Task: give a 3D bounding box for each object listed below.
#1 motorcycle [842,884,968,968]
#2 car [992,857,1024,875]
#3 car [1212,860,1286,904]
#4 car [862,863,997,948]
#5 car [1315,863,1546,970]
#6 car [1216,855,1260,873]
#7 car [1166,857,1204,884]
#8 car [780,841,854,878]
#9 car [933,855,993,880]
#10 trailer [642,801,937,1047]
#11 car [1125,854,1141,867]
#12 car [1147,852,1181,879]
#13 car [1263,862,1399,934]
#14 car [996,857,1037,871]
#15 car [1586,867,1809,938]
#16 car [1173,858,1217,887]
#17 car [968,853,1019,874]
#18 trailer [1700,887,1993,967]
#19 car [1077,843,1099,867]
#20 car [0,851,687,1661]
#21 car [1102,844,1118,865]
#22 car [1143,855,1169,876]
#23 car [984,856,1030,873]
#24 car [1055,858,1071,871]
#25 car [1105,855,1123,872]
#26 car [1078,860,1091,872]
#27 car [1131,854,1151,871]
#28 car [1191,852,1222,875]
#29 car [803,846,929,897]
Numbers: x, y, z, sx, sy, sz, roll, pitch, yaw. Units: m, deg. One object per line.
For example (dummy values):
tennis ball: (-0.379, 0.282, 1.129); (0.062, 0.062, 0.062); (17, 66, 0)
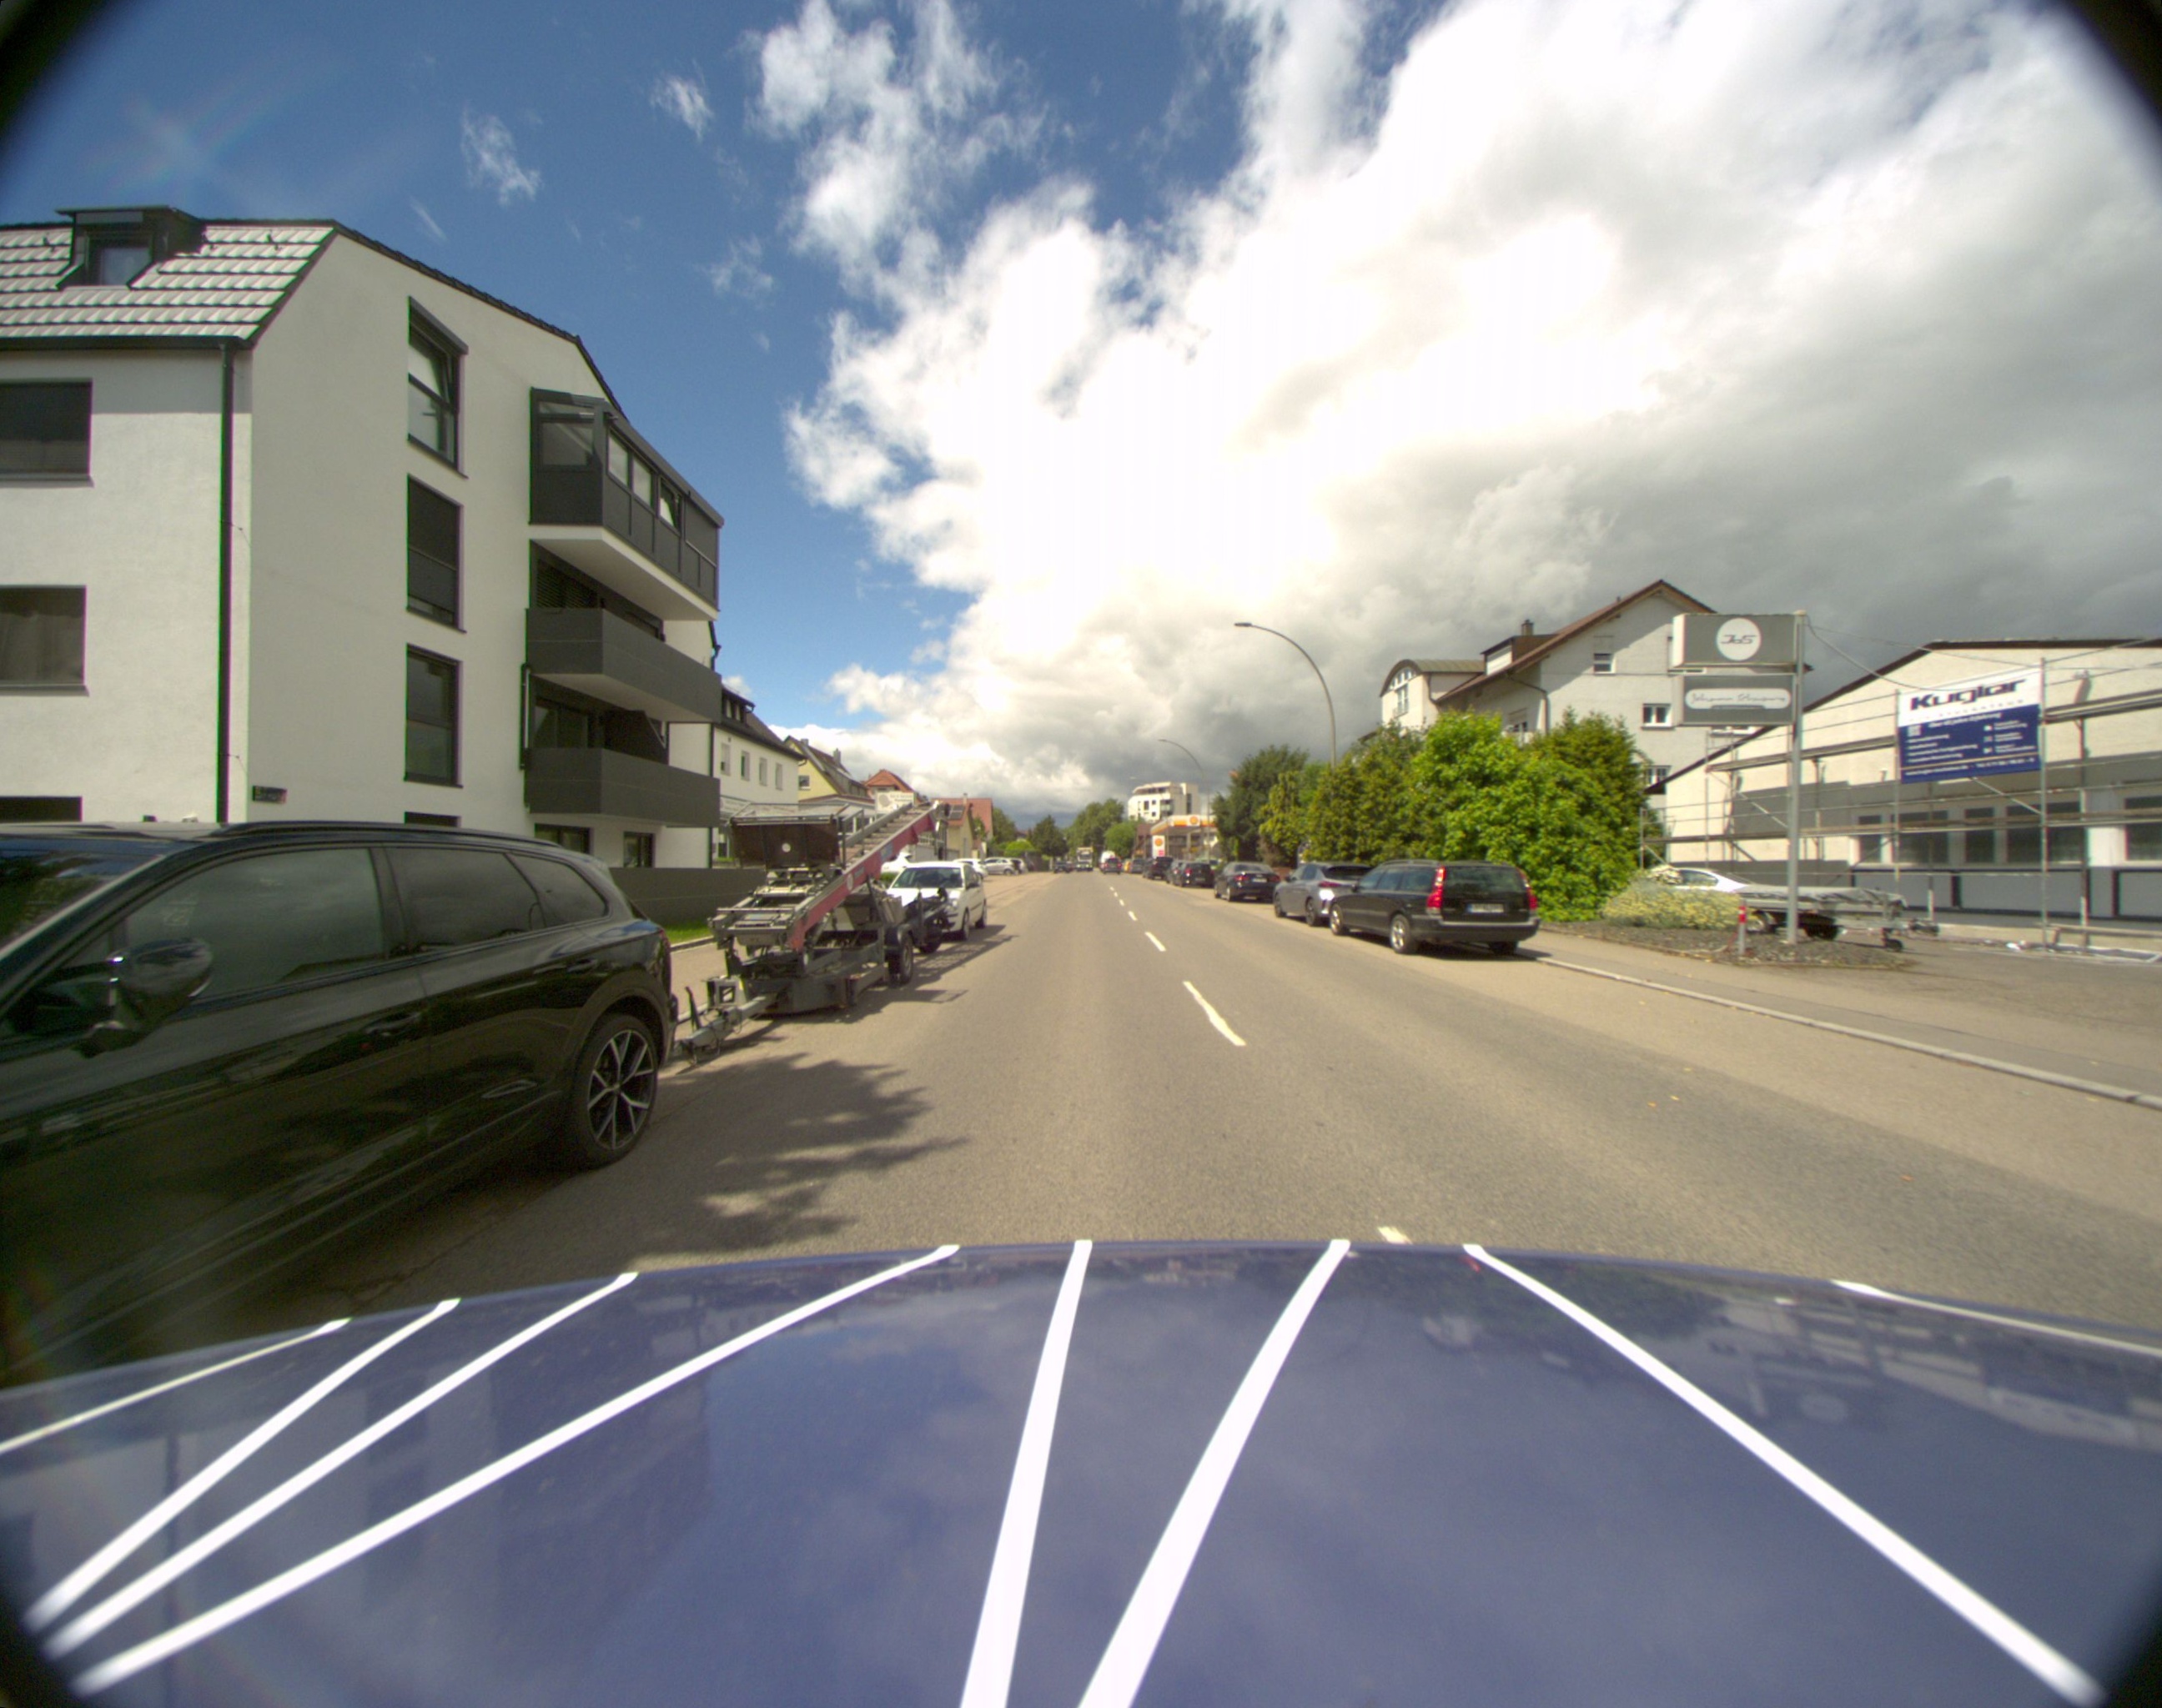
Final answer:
motorcycle: (-2.784, 1.096, 12.093); (1.826, 1.202, 0.715); (0, 0, -35)
car: (-7.037, 1.145, 73.672); (2.896, 1.516, 1.974); (3, 0, -3)
car: (5.867, 0.931, 27.088); (1.667, 1.406, 4.338); (1, 0, 0)
car: (-2.902, 0.934, 15.402); (1.723, 1.423, 3.984); (2, 0, 3)
car: (5.700, 0.918, 13.177); (1.724, 1.484, 4.735); (1, 0, -1)
car: (17.006, 1.056, 82.101); (4.993, 1.841, 1.970); (0, 0, -41)
car: (6.234, 0.970, 45.912); (1.667, 1.502, 3.945); (3, 0, 0)
car: (-11.936, 0.297, 34.597); (1.634, 1.510, 3.667); (3, -1, 8)
car: (-8.224, 0.911, 53.072); (3.909, 1.599, 1.749); (-2, 0, -1)
trailer: (-2.929, 0.623, 8.674); (1.777, 2.132, 4.114); (0, 0, 0)
car: (6.426, 0.805, 94.177); (1.666, 1.505, 3.946); (3, 0, 1)
car: (6.135, 0.845, 56.807); (1.915, 1.810, 5.430); (3, 0, 0)
car: (5.738, 0.945, 17.983); (1.724, 1.423, 4.199); (2, 0, -1)
car: (-7.181, 1.103, 85.363); (4.419, 1.399, 1.974); (3, 0, -3)
car: (14.838, 1.093, 18.488); (3.987, 1.379, 1.897); (2, 0, 40)
car: (6.051, 0.966, 40.758); (1.667, 1.427, 4.338); (2, 0, 0)
car: (-7.944, 0.867, 69.027); (4.419, 1.599, 1.974); (3, 0, -3)
trailer: (13.711, 1.237, 13.977); (1.563, 1.119, 3.814); (0, 0, 0)
car: (1.149, 0.231, 125.127); (3.263, 3.595, 10.269); (-1, -1, -1)
car: (-3.244, 0.853, 2.150); (1.878, 1.717, 4.712); (1, 0, -1)
car: (3.923, 0.076, 103.730); (1.997, 2.749, 6.164); (1, 0, 0)
car: (6.176, 0.914, 62.920); (1.667, 1.670, 4.526); (2, 0, 0)
car: (-7.517, 1.080, 77.444); (4.419, 1.516, 1.974); (3, 0, -3)
car: (-2.268, 1.293, 94.780); (1.789, 1.548, 4.317); (-1, 0, 1)
car: (3.556, 1.051, 82.132); (1.667, 1.785, 4.338); (1, 0, -1)
car: (0.537, 1.685, 109.350); (1.891, 1.708, 4.000); (1, 0, 1)
car: (6.550, 0.971, 83.556); (1.733, 1.727, 4.190); (3, 0, 0)
car: (10.367, 0.757, 62.928); (1.797, 1.775, 4.338); (-1, 0, -1)
car: (-8.135, 0.656, 29.078); (4.202, 1.644, 1.867); (3, 0, 0)
